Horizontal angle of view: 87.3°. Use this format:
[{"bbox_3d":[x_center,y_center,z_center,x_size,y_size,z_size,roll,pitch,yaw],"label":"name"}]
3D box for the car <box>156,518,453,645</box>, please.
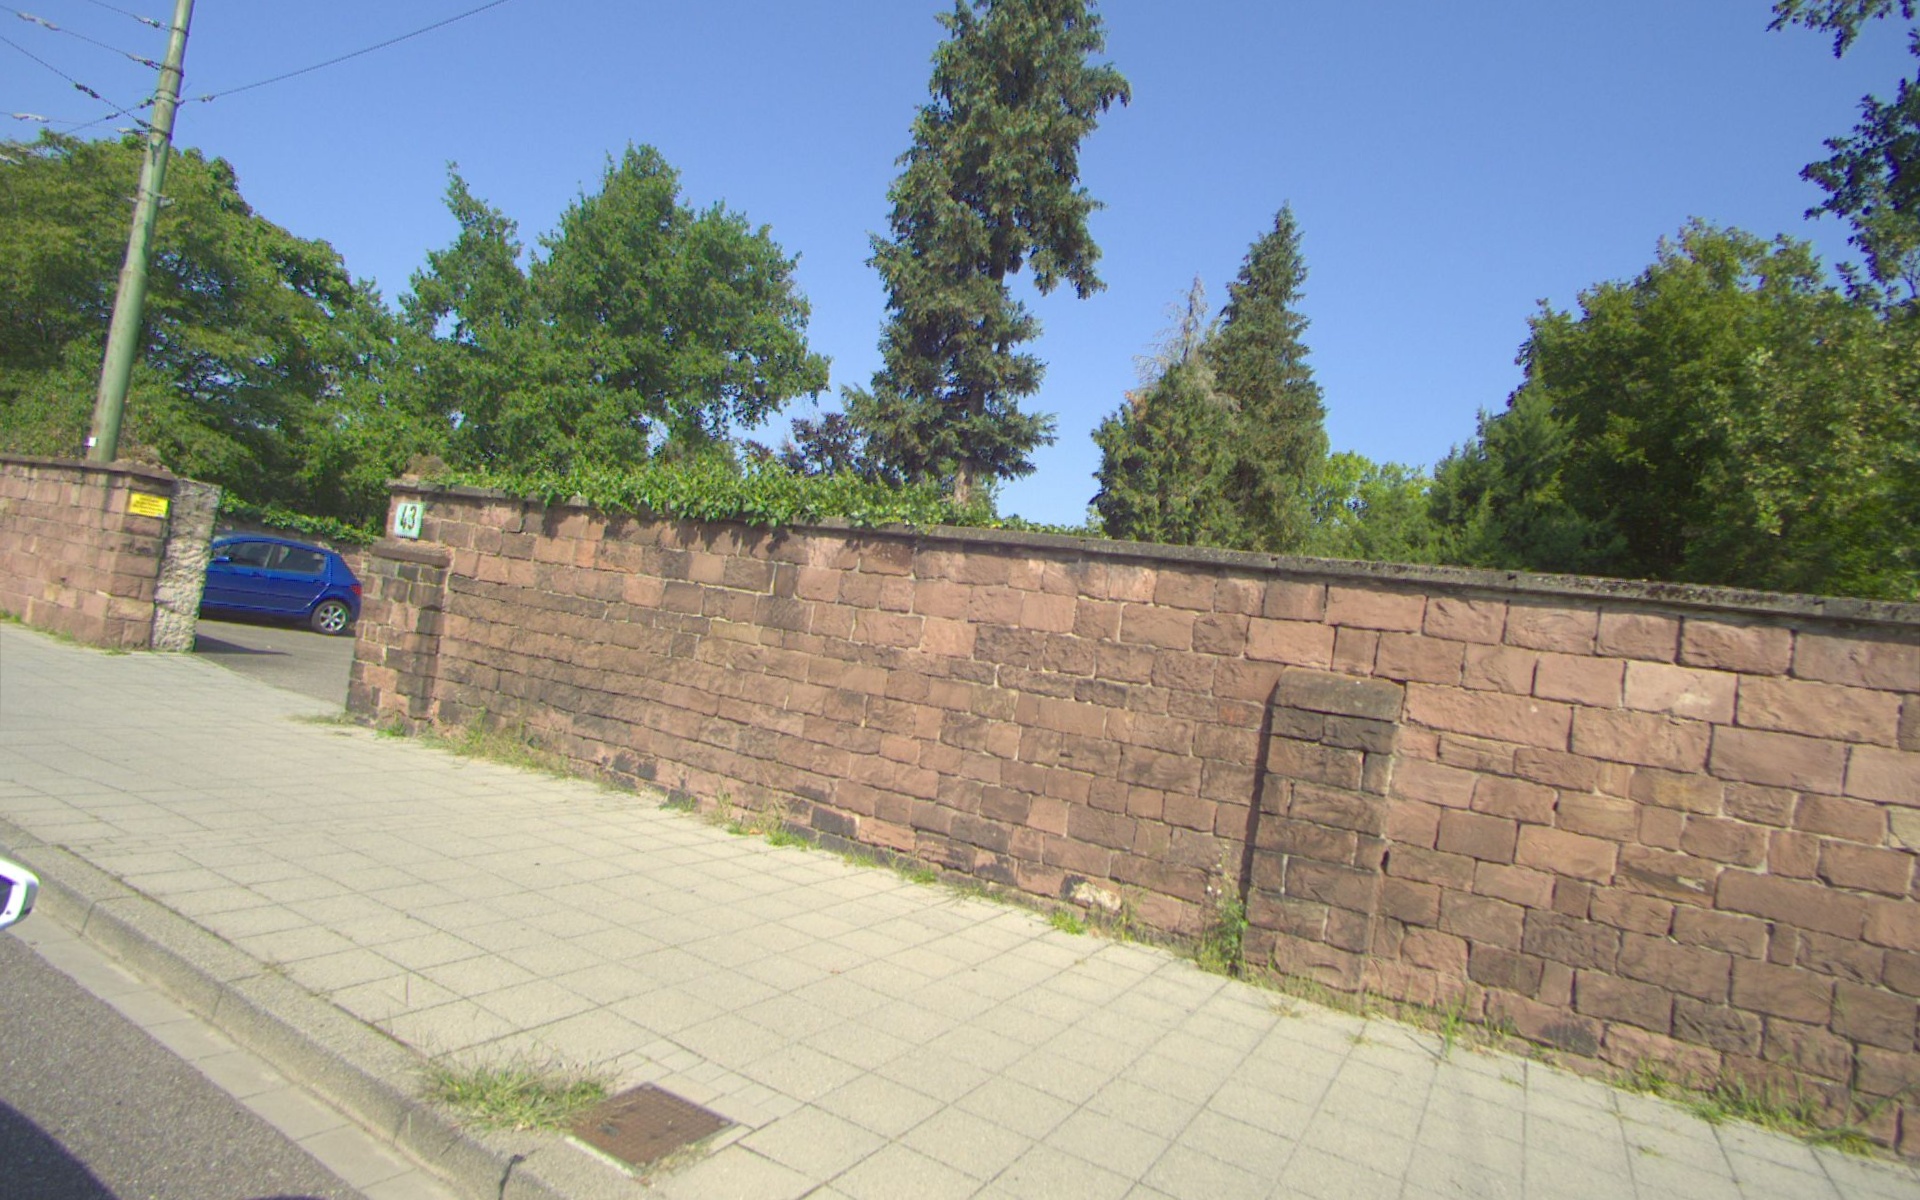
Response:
[{"bbox_3d":[-11.640,-0.257,18.164,1.747,1.479,3.982,8,-4,29],"label":"car"}]
